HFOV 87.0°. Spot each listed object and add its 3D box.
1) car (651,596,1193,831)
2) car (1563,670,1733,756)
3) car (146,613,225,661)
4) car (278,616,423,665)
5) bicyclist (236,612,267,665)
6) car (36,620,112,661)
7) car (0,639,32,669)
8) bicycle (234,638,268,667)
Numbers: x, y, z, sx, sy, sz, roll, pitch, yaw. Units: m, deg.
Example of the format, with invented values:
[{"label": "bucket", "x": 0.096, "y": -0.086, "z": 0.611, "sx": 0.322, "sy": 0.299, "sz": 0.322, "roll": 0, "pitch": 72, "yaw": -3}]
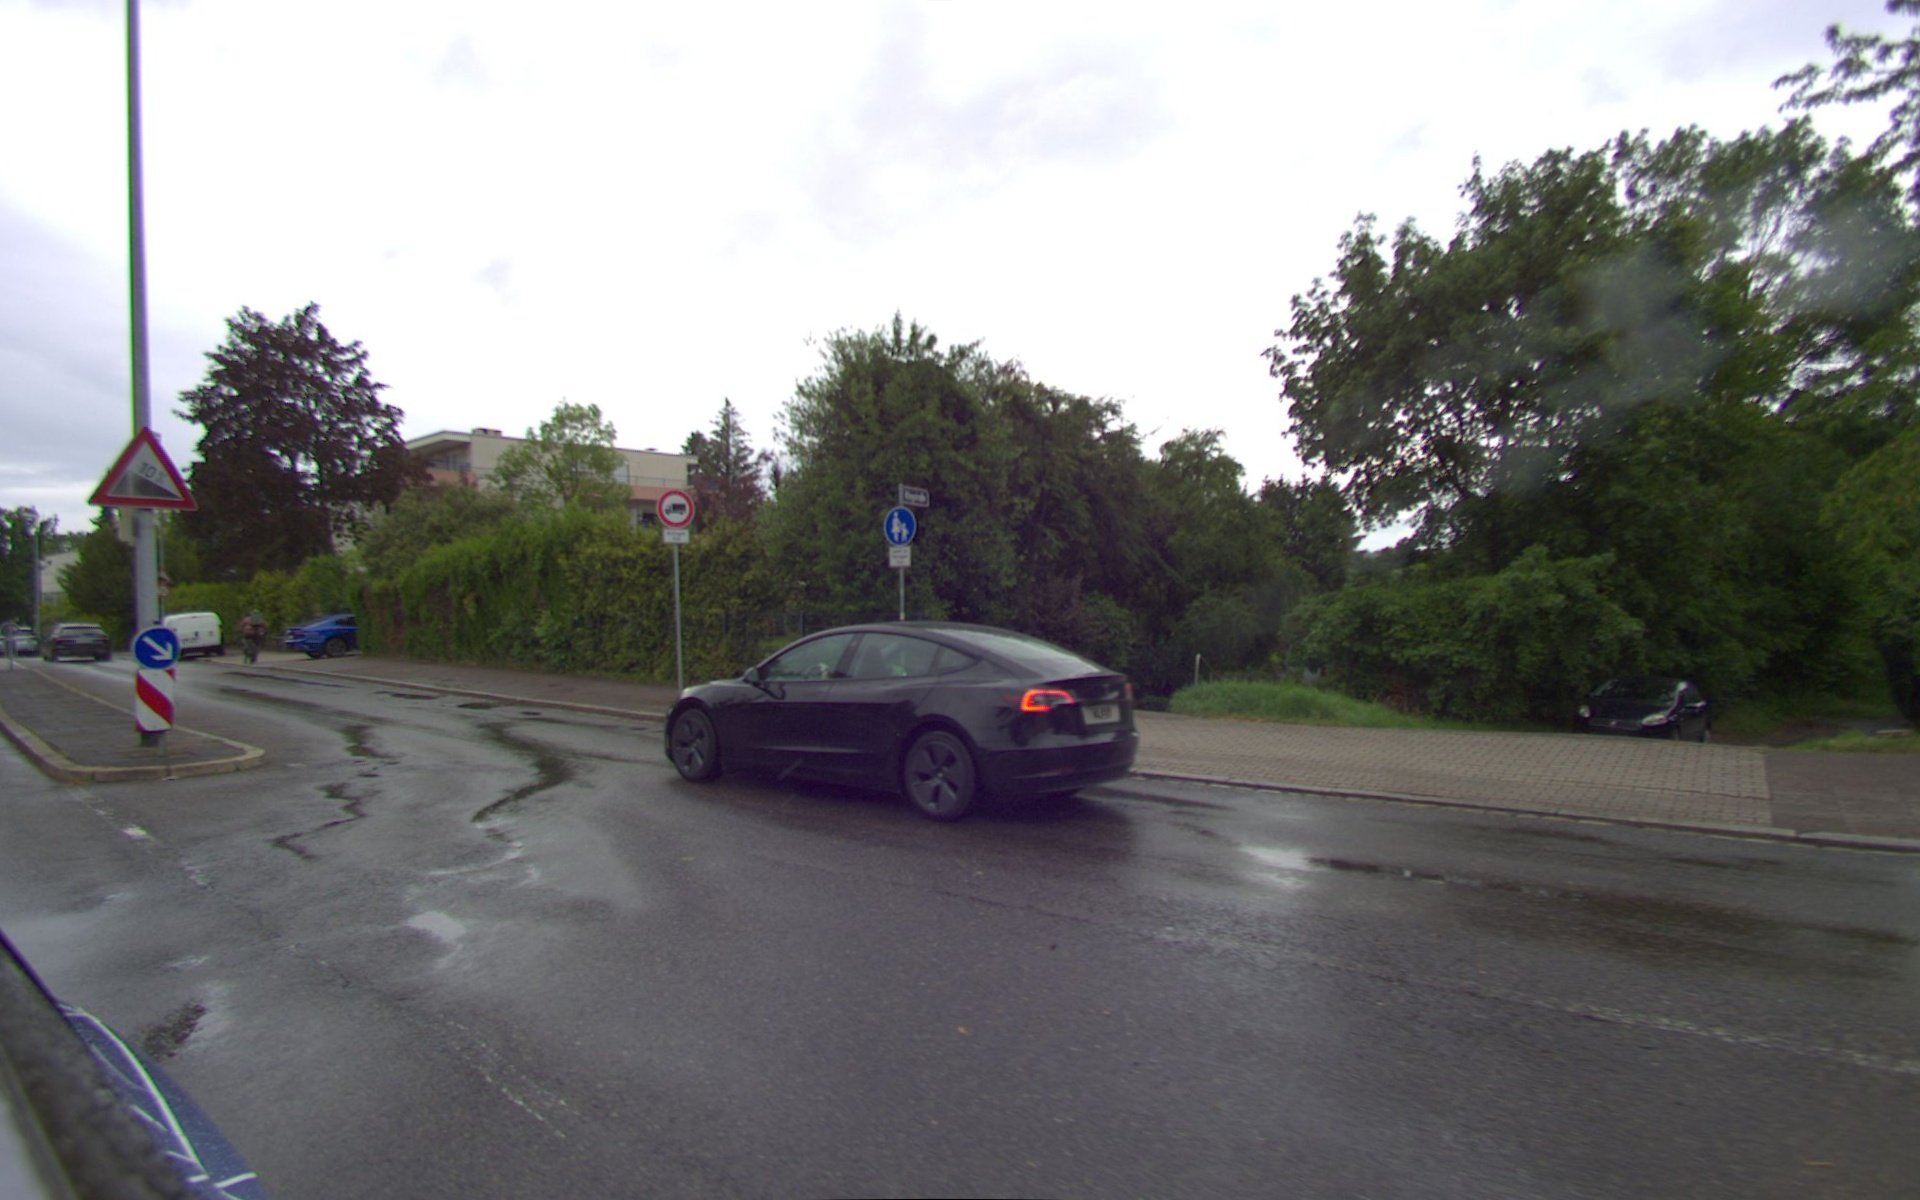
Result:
[{"label": "car", "x": -0.486, "y": 0.772, "z": 8.531, "sx": 4.440, "sy": 1.487, "sz": 1.847, "roll": -1, "pitch": -2, "yaw": 38}, {"label": "car", "x": 13.678, "y": 2.161, "z": 20.043, "sx": 3.938, "sy": 1.367, "sz": 1.846, "roll": 2, "pitch": -2, "yaw": -41}, {"label": "car", "x": -30.255, "y": 1.395, "z": 39.507, "sx": 4.000, "sy": 1.730, "sz": 1.797, "roll": -1, "pitch": 0, "yaw": 43}, {"label": "car", "x": -20.463, "y": 1.312, "z": 34.104, "sx": 1.767, "sy": 1.467, "sz": 3.839, "roll": -1, "pitch": 0, "yaw": 40}, {"label": "bicyclist", "x": -23.012, "y": 1.245, "z": 32.853, "sx": 0.732, "sy": 1.659, "sz": 0.779, "roll": -1, "pitch": 0, "yaw": -40}, {"label": "car", "x": -34.524, "y": 1.535, "z": 39.407, "sx": 4.000, "sy": 1.467, "sz": 1.797, "roll": -1, "pitch": 0, "yaw": 43}, {"label": "car", "x": -52.504, "y": 2.966, "z": 55.677, "sx": 4.000, "sy": 1.467, "sz": 1.797, "roll": -1, "pitch": 0, "yaw": 43}, {"label": "bicycle", "x": -23.075, "y": 1.698, "z": 32.932, "sx": 0.732, "sy": 0.857, "sz": 1.975, "roll": -1, "pitch": 0, "yaw": -40}]
